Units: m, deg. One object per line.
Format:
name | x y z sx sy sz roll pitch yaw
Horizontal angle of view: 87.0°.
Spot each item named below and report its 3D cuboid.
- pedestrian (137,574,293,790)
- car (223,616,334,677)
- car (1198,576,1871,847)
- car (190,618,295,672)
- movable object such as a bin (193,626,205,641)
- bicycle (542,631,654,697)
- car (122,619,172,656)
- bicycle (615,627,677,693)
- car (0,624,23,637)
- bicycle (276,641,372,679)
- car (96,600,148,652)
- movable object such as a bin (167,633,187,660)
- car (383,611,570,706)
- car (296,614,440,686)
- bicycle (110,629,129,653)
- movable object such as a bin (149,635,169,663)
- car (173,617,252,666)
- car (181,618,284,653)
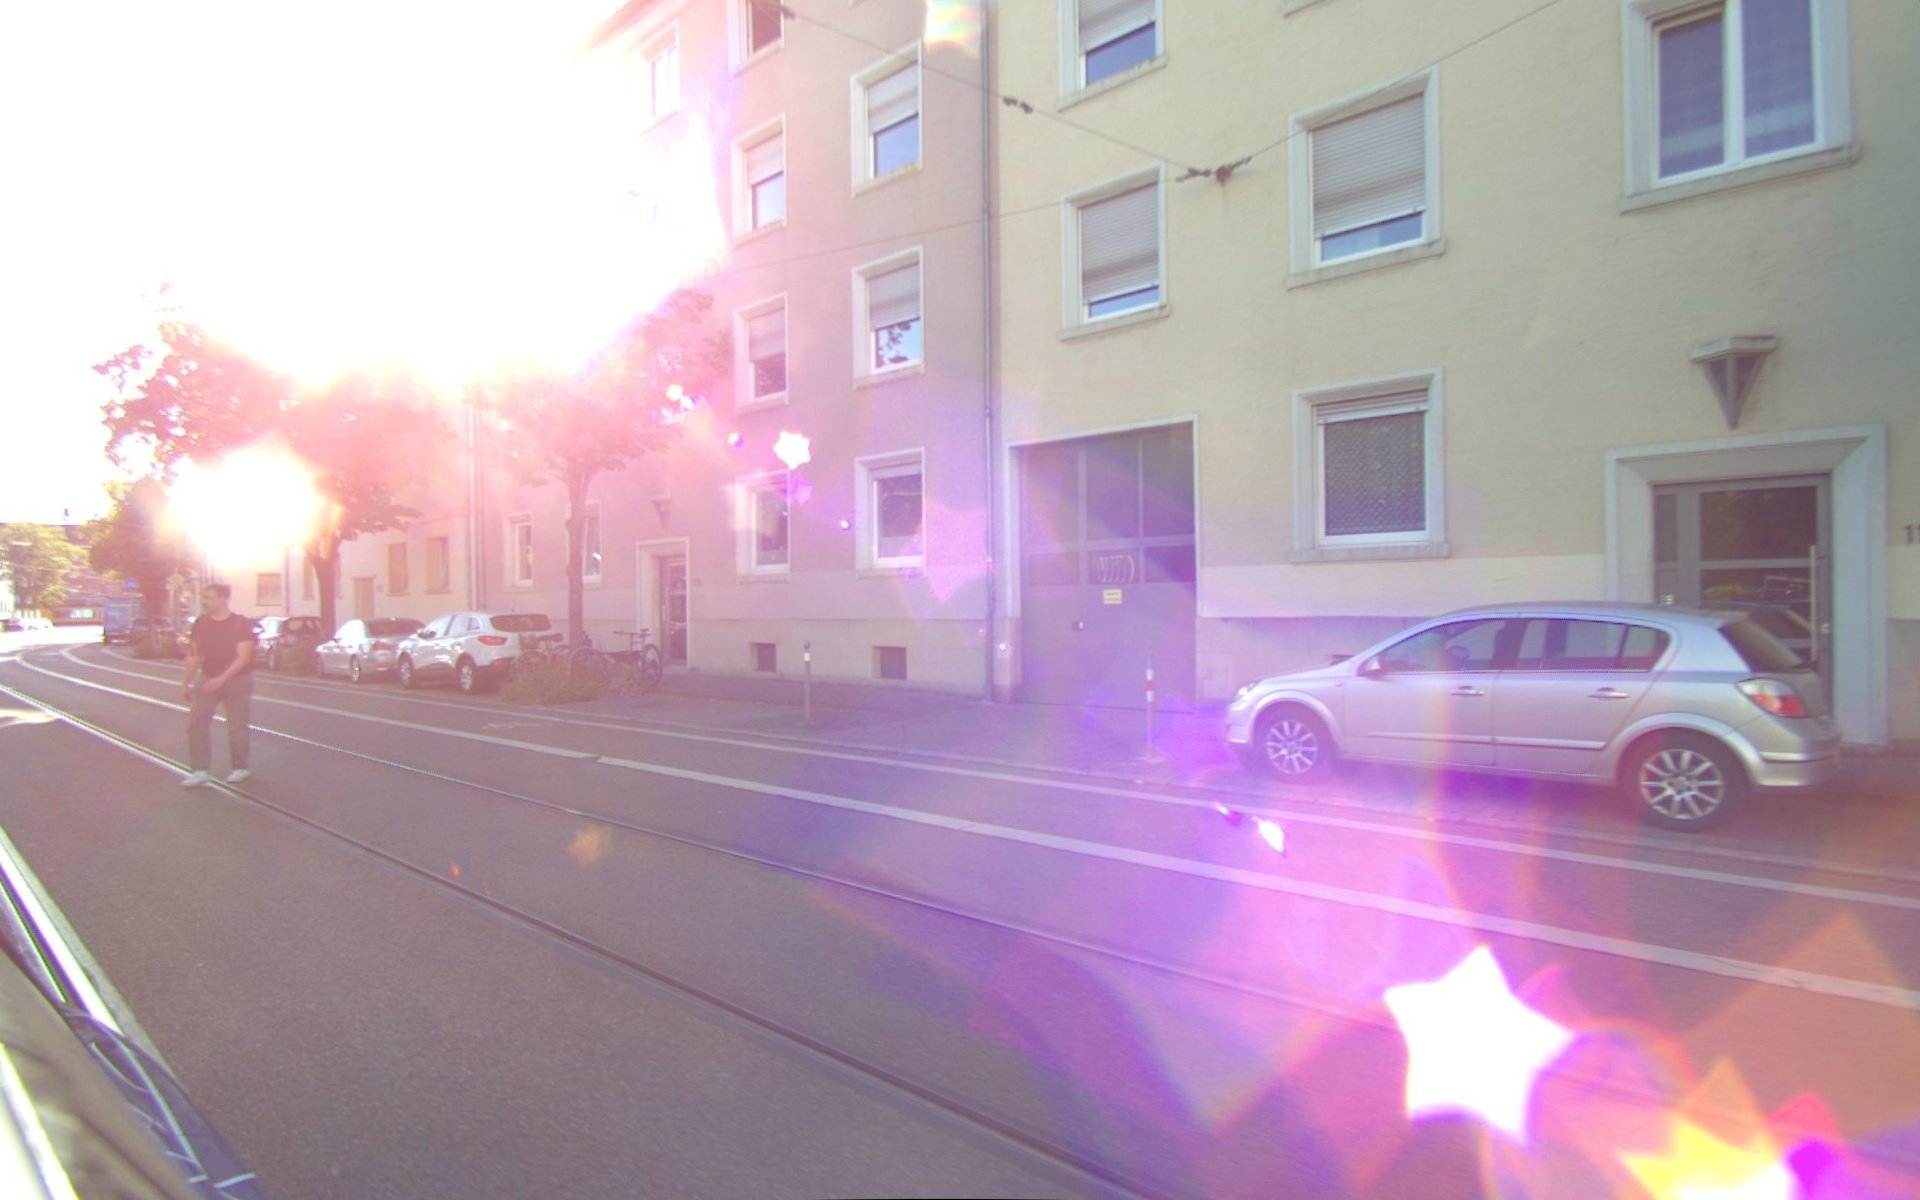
pedestrian | -6.565 0.695 8.947 0.730 1.790 0.846 -2 -2 22
car | -19.943 1.331 29.565 3.726 1.626 1.576 -1 0 38
car | 4.172 0.652 7.803 4.190 1.519 1.789 -1 1 42
car | -22.943 1.390 32.325 3.854 1.541 1.769 -1 1 40
movable object such as a bin | -50.813 2.244 67.553 0.588 0.941 0.570 0 -1 -41
bicycle | -6.599 1.148 18.516 0.476 1.054 1.904 -1 0 43
car | -43.609 1.979 54.323 1.770 1.570 4.651 -13 7 -38
bicycle | -5.601 1.050 18.009 1.439 1.109 0.325 -1 0 42
car | -112.015 3.602 119.369 1.680 1.493 4.668 3 -2 -38
bicycle | -16.845 1.572 26.858 0.477 0.831 2.105 -1 1 41
car | -49.609 1.510 60.012 1.991 2.847 6.045 -2 0 -37
movable object such as a bin | -29.930 1.777 38.677 0.660 0.995 0.479 -1 0 45
car | -9.784 1.105 20.358 4.290 1.680 1.636 -1 0 38
car | -14.053 1.125 23.900 4.660 1.486 1.670 -1 1 44
bicycle | -41.266 2.012 49.668 0.506 1.143 2.032 -2 0 -45
movable object such as a bin | -30.311 1.852 38.298 0.660 0.995 0.479 -1 0 45
car | -25.978 1.399 35.110 1.669 1.541 4.003 -1 0 -44
car | -34.900 1.684 48.582 3.839 1.469 1.771 -2 1 -42
